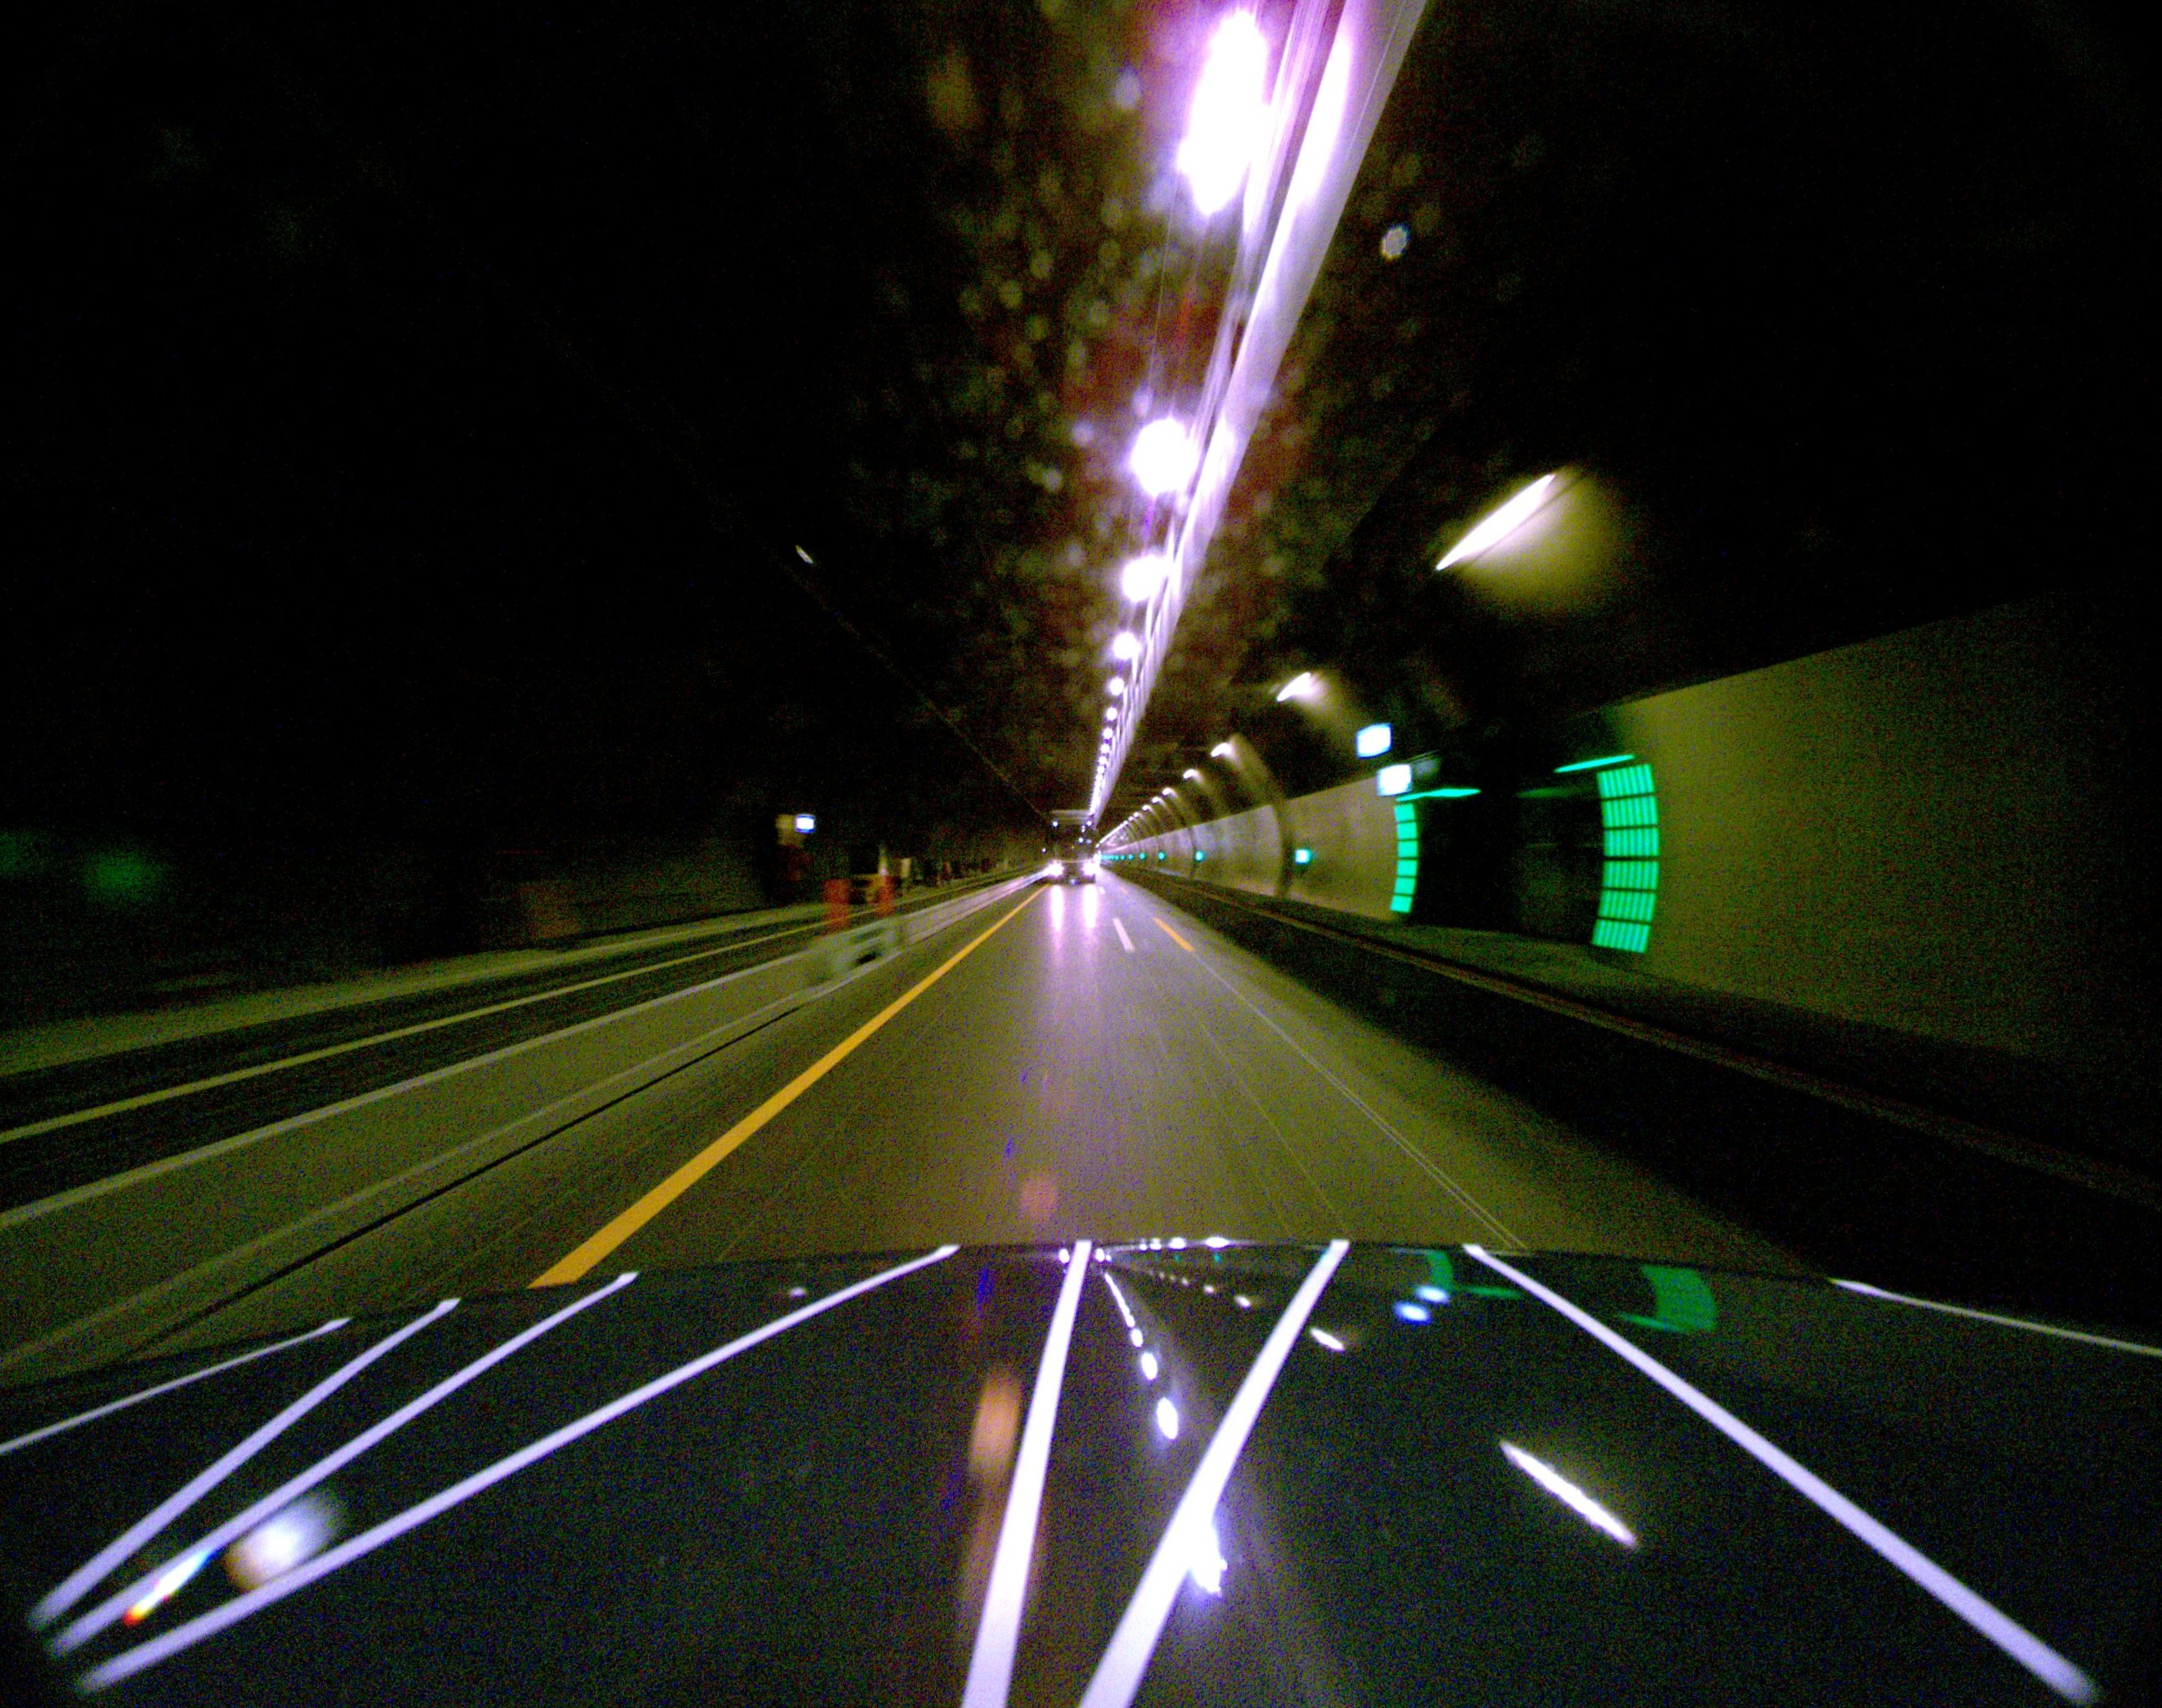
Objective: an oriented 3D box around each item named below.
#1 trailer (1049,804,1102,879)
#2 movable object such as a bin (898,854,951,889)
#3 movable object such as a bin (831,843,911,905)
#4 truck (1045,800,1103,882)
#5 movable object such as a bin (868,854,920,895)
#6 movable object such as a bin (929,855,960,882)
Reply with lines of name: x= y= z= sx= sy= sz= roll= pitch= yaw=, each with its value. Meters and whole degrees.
trailer: x=-0.255 y=-0.784 z=49.860 sx=2.939 sy=4.316 sz=10.051 roll=-2 pitch=1 yaw=1
movable object such as a bin: x=-8.297 y=0.895 z=40.665 sx=1.865 sy=1.665 sz=4.501 roll=2 pitch=0 yaw=0
movable object such as a bin: x=-7.904 y=0.680 z=29.089 sx=1.688 sy=2.133 sz=4.627 roll=-2 pitch=1 yaw=0
truck: x=-0.318 y=-0.722 z=44.217 sx=2.951 sy=4.338 sz=6.675 roll=-2 pitch=1 yaw=1
movable object such as a bin: x=-8.493 y=0.892 z=34.793 sx=1.560 sy=1.699 sz=3.054 roll=-2 pitch=1 yaw=0
movable object such as a bin: x=-8.396 y=0.874 z=46.784 sx=1.306 sy=1.584 sz=3.055 roll=2 pitch=0 yaw=0
